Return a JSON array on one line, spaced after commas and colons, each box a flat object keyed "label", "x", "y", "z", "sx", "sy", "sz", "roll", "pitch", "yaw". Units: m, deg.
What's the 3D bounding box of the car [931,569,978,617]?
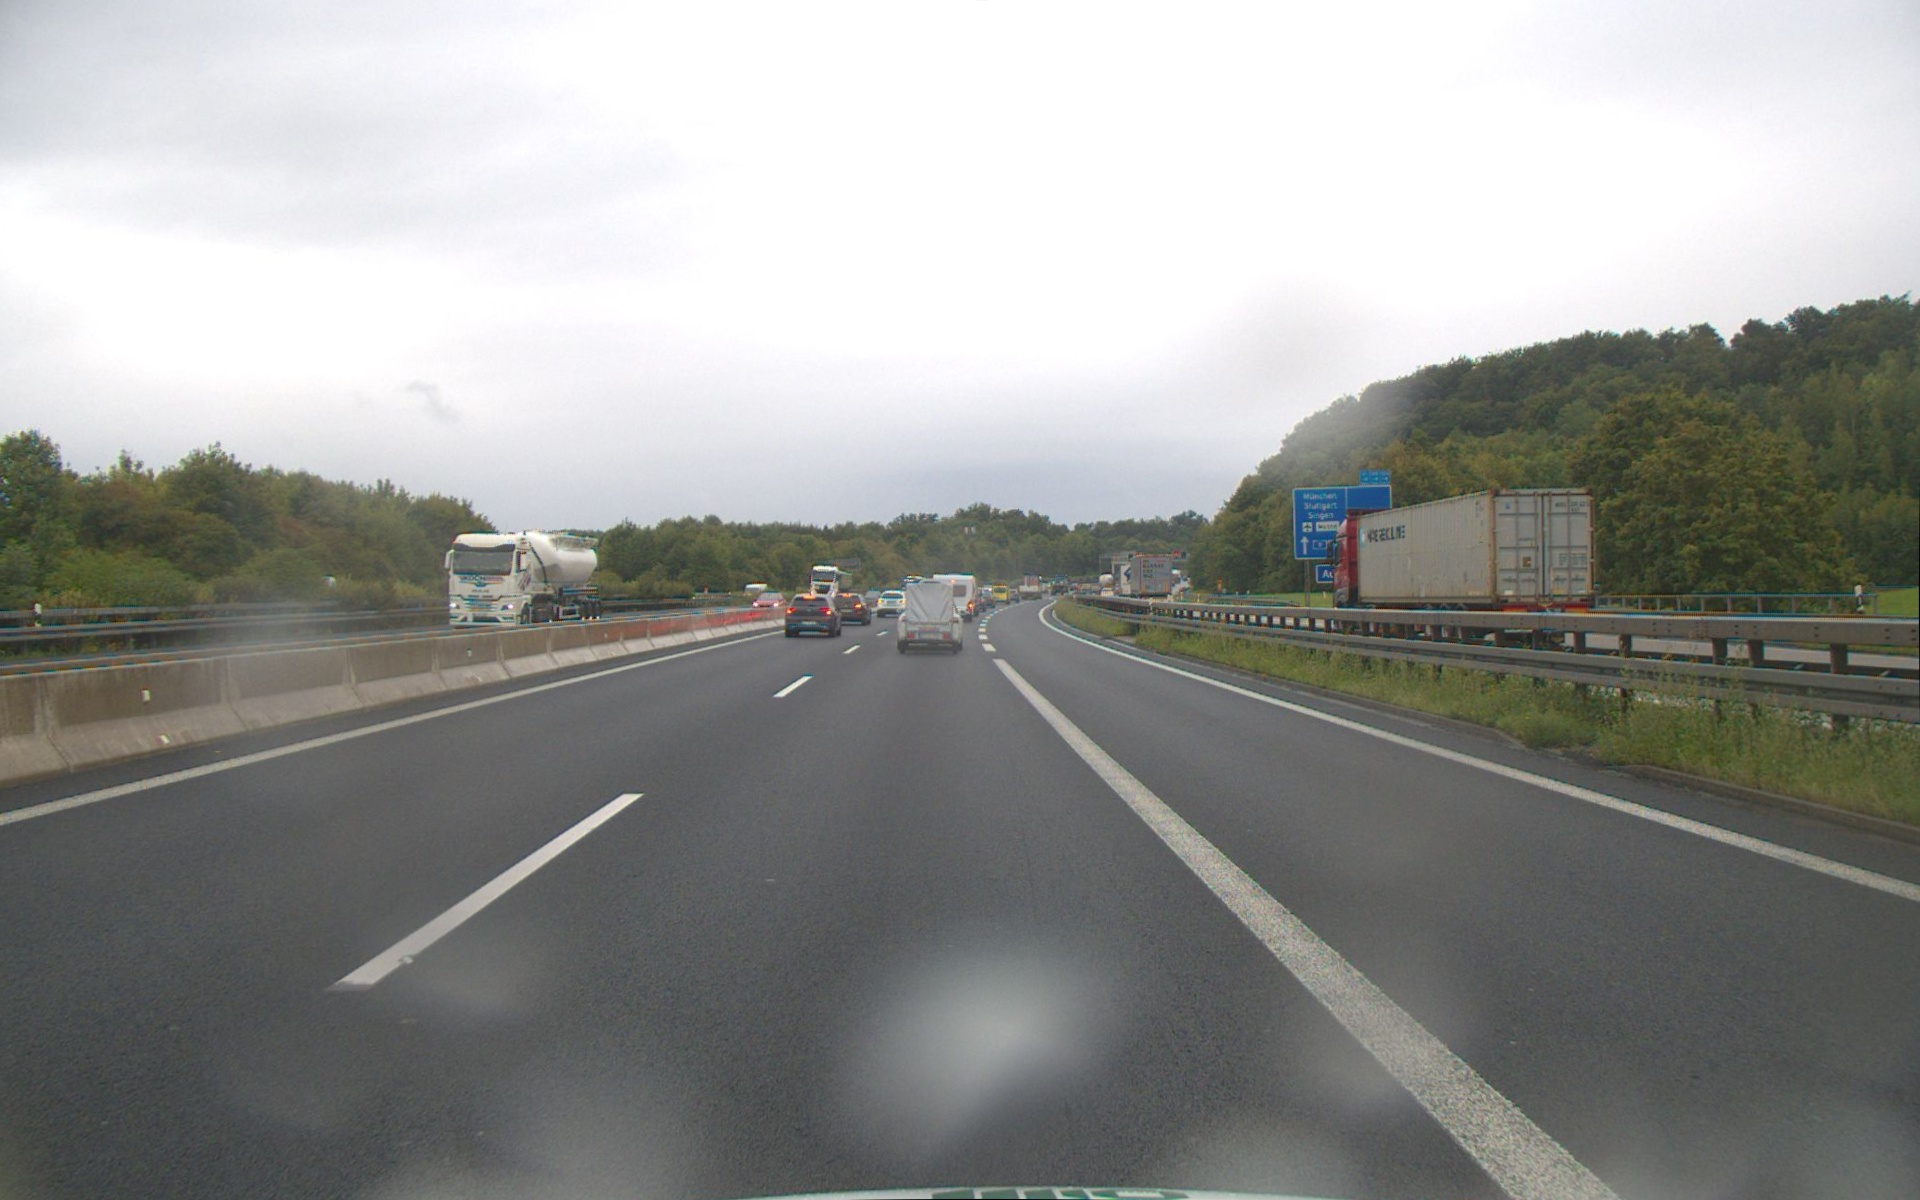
[{"label": "car", "x": -0.253, "y": -0.396, "z": 93.981, "sx": 2.455, "sy": 2.630, "sz": 5.701, "roll": 0, "pitch": 0, "yaw": 2}]

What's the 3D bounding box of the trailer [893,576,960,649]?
[{"label": "trailer", "x": -0.849, "y": 0.315, "z": 44.071, "sx": 1.641, "sy": 1.844, "sz": 4.000, "roll": 0, "pitch": 0, "yaw": 1}]

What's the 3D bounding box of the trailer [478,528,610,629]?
[{"label": "trailer", "x": -16.820, "y": -0.812, "z": 67.697, "sx": 2.582, "sy": 3.801, "sz": 10.811, "roll": 0, "pitch": 0, "yaw": 0}]

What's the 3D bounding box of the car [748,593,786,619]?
[{"label": "car", "x": -12.557, "y": 0.379, "z": 107.670, "sx": 1.770, "sy": 1.608, "sz": 4.357, "roll": 0, "pitch": 0, "yaw": 2}]

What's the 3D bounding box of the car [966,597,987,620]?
[{"label": "car", "x": 1.340, "y": 0.687, "z": 134.552, "sx": 1.641, "sy": 1.844, "sz": 4.000, "roll": 0, "pitch": 0, "yaw": 1}]

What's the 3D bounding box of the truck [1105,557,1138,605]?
[{"label": "truck", "x": 16.784, "y": -1.886, "z": 172.383, "sx": 3.148, "sy": 4.748, "sz": 13.039, "roll": 0, "pitch": 0, "yaw": 4}]

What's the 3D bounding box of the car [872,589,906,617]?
[{"label": "car", "x": -4.382, "y": 0.174, "z": 102.422, "sx": 1.738, "sy": 1.669, "sz": 4.044, "roll": 0, "pitch": 0, "yaw": 3}]

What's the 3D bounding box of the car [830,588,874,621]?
[{"label": "car", "x": -5.083, "y": 0.214, "z": 78.453, "sx": 1.729, "sy": 1.481, "sz": 4.000, "roll": 0, "pitch": 0, "yaw": 1}]

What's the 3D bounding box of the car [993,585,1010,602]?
[{"label": "car", "x": 4.605, "y": -0.746, "z": 183.618, "sx": 1.640, "sy": 1.844, "sz": 4.002, "roll": 0, "pitch": 0, "yaw": 5}]

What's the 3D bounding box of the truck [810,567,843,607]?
[{"label": "truck", "x": -13.091, "y": -1.275, "z": 162.261, "sx": 2.828, "sy": 3.814, "sz": 5.943, "roll": 0, "pitch": 0, "yaw": -1}]

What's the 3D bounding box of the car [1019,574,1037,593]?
[{"label": "car", "x": 9.609, "y": -2.314, "z": 232.228, "sx": 2.463, "sy": 2.620, "sz": 5.314, "roll": 0, "pitch": 0, "yaw": 3}]

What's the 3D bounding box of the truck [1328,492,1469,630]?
[{"label": "truck", "x": 13.276, "y": -1.101, "z": 50.576, "sx": 2.563, "sy": 3.952, "sz": 6.391, "roll": 0, "pitch": 0, "yaw": -1}]

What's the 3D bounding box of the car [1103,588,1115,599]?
[{"label": "car", "x": 21.366, "y": -0.911, "z": 236.839, "sx": 1.640, "sy": 1.481, "sz": 4.003, "roll": 0, "pitch": 0, "yaw": 6}]

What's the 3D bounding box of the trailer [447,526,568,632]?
[{"label": "trailer", "x": -16.865, "y": -0.739, "z": 62.066, "sx": 2.582, "sy": 3.780, "sz": 6.492, "roll": 0, "pitch": 0, "yaw": 1}]

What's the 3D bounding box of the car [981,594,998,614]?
[{"label": "car", "x": 2.762, "y": 0.372, "z": 155.342, "sx": 1.641, "sy": 1.844, "sz": 4.000, "roll": 0, "pitch": 0, "yaw": 1}]

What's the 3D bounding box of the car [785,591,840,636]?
[{"label": "car", "x": -5.095, "y": 0.457, "z": 57.537, "sx": 1.642, "sy": 1.481, "sz": 3.999, "roll": 0, "pitch": 0, "yaw": -1}]

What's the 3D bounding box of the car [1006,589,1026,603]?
[{"label": "car", "x": 6.841, "y": -0.486, "z": 202.292, "sx": 1.994, "sy": 1.712, "sz": 4.003, "roll": 0, "pitch": 0, "yaw": 9}]

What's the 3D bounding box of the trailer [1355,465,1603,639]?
[{"label": "trailer", "x": 13.325, "y": -1.075, "z": 43.974, "sx": 2.551, "sy": 3.962, "sz": 12.488, "roll": 0, "pitch": 0, "yaw": -1}]

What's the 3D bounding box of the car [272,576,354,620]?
[{"label": "car", "x": -31.221, "y": -0.092, "z": 79.959, "sx": 1.835, "sy": 2.049, "sz": 5.299, "roll": 0, "pitch": 0, "yaw": 1}]

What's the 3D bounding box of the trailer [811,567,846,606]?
[{"label": "trailer", "x": -13.158, "y": -1.268, "z": 166.105, "sx": 2.844, "sy": 3.814, "sz": 8.926, "roll": 0, "pitch": 0, "yaw": -1}]

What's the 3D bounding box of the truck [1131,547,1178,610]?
[{"label": "truck", "x": 15.373, "y": -1.603, "z": 131.672, "sx": 3.148, "sy": 4.748, "sz": 13.039, "roll": 0, "pitch": 0, "yaw": 4}]

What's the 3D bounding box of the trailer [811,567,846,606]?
[{"label": "trailer", "x": -13.158, "y": -1.268, "z": 166.105, "sx": 2.844, "sy": 3.814, "sz": 8.926, "roll": 0, "pitch": 0, "yaw": -1}]

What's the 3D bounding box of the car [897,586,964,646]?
[{"label": "car", "x": -0.801, "y": 0.450, "z": 47.579, "sx": 1.781, "sy": 1.644, "sz": 4.778, "roll": 0, "pitch": 0, "yaw": 1}]
